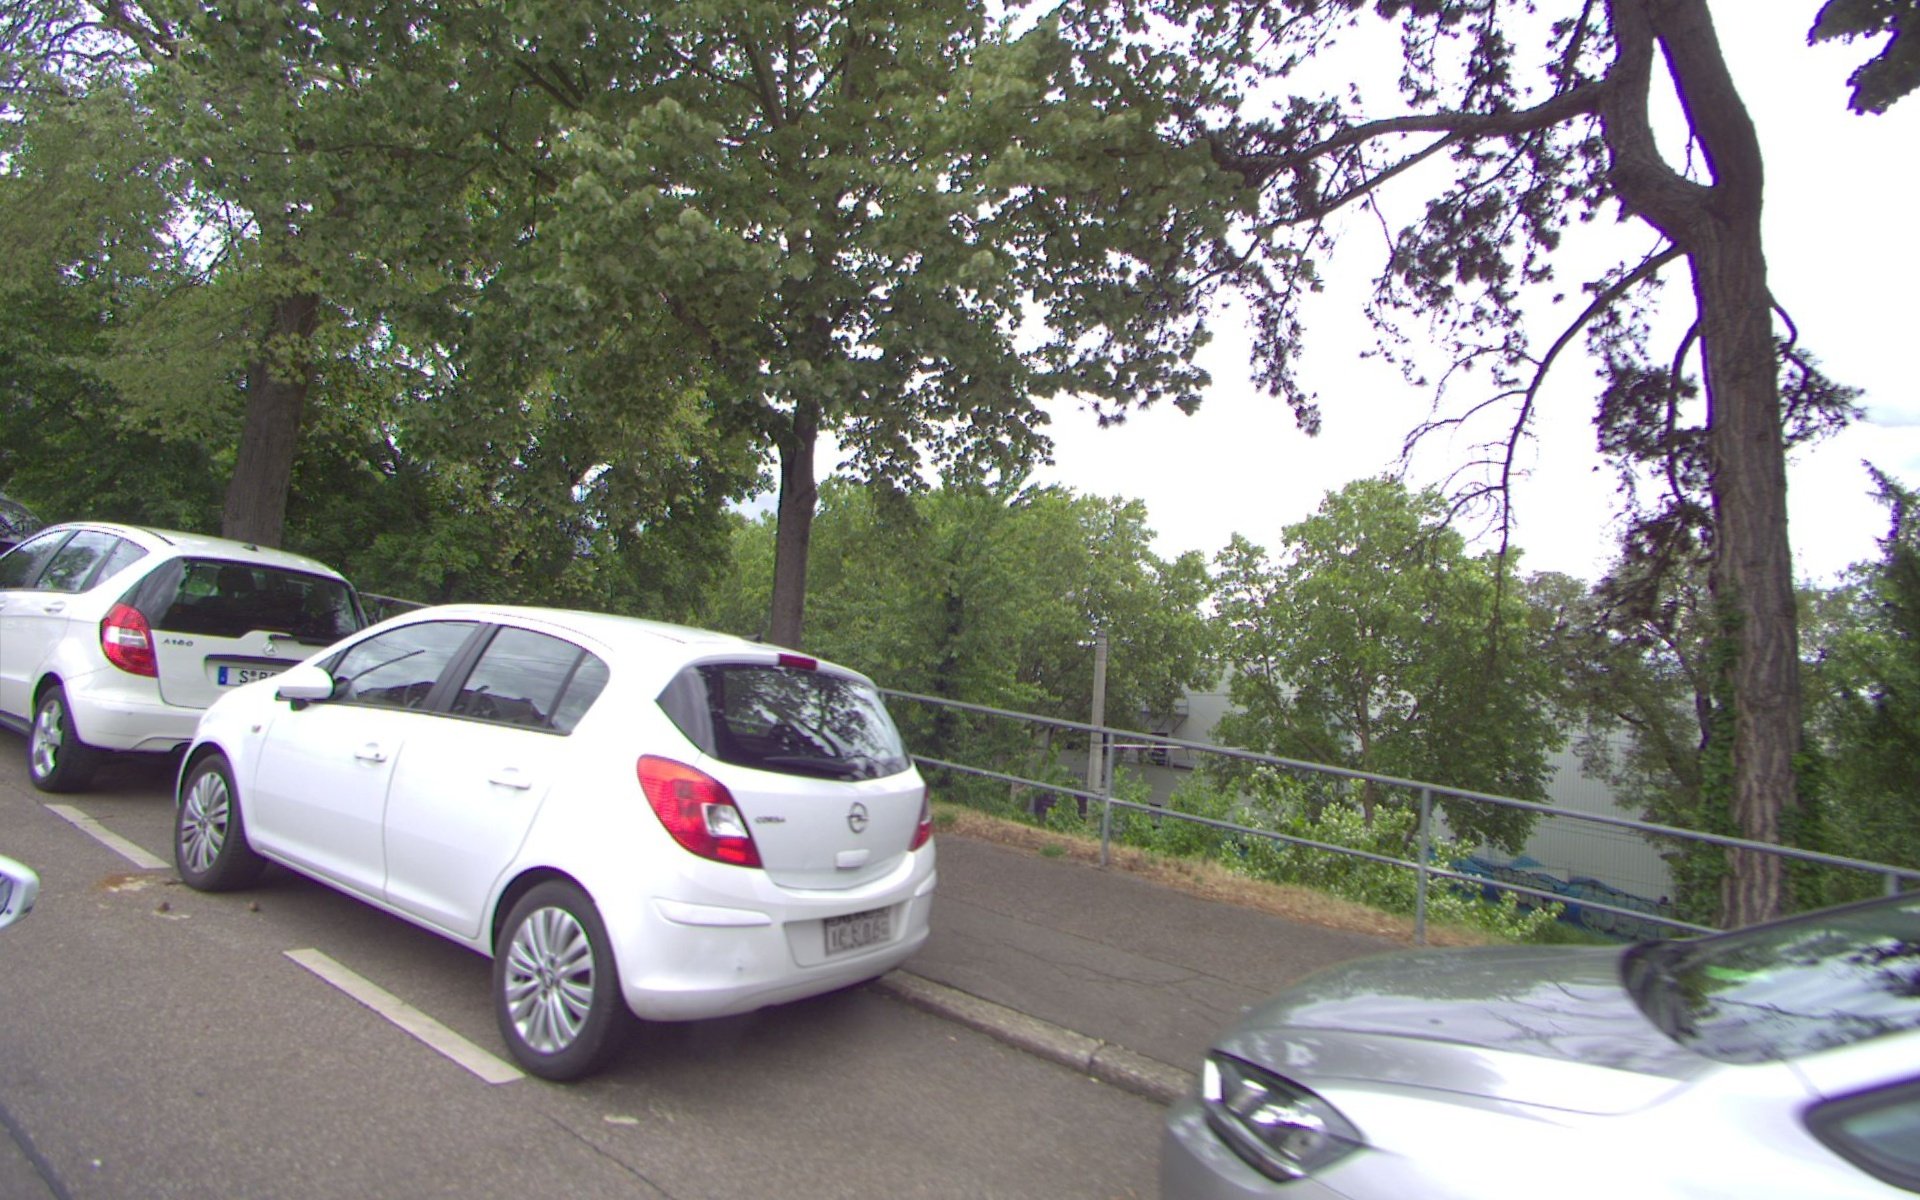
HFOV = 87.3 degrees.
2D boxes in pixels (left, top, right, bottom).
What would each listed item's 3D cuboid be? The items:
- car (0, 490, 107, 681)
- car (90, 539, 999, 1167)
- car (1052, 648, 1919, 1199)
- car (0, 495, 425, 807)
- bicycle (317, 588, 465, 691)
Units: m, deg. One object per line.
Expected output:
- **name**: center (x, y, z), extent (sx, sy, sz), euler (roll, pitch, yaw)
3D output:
- **car**: center (-10.993, -0.401, 10.409), extent (4.982, 1.695, 1.881), euler (6, -4, 34)
- **car**: center (-2.040, 0.751, 4.582), extent (3.997, 1.532, 1.634), euler (6, -4, 32)
- **car**: center (2.453, 1.157, 1.493), extent (4.294, 1.593, 1.737), euler (6, -2, 34)
- **car**: center (-5.980, 0.267, 7.307), extent (4.021, 1.647, 1.732), euler (6, -5, 32)
- **bicycle**: center (-6.615, 0.454, 11.679), extent (1.762, 0.987, 0.428), euler (6, -2, 24)
